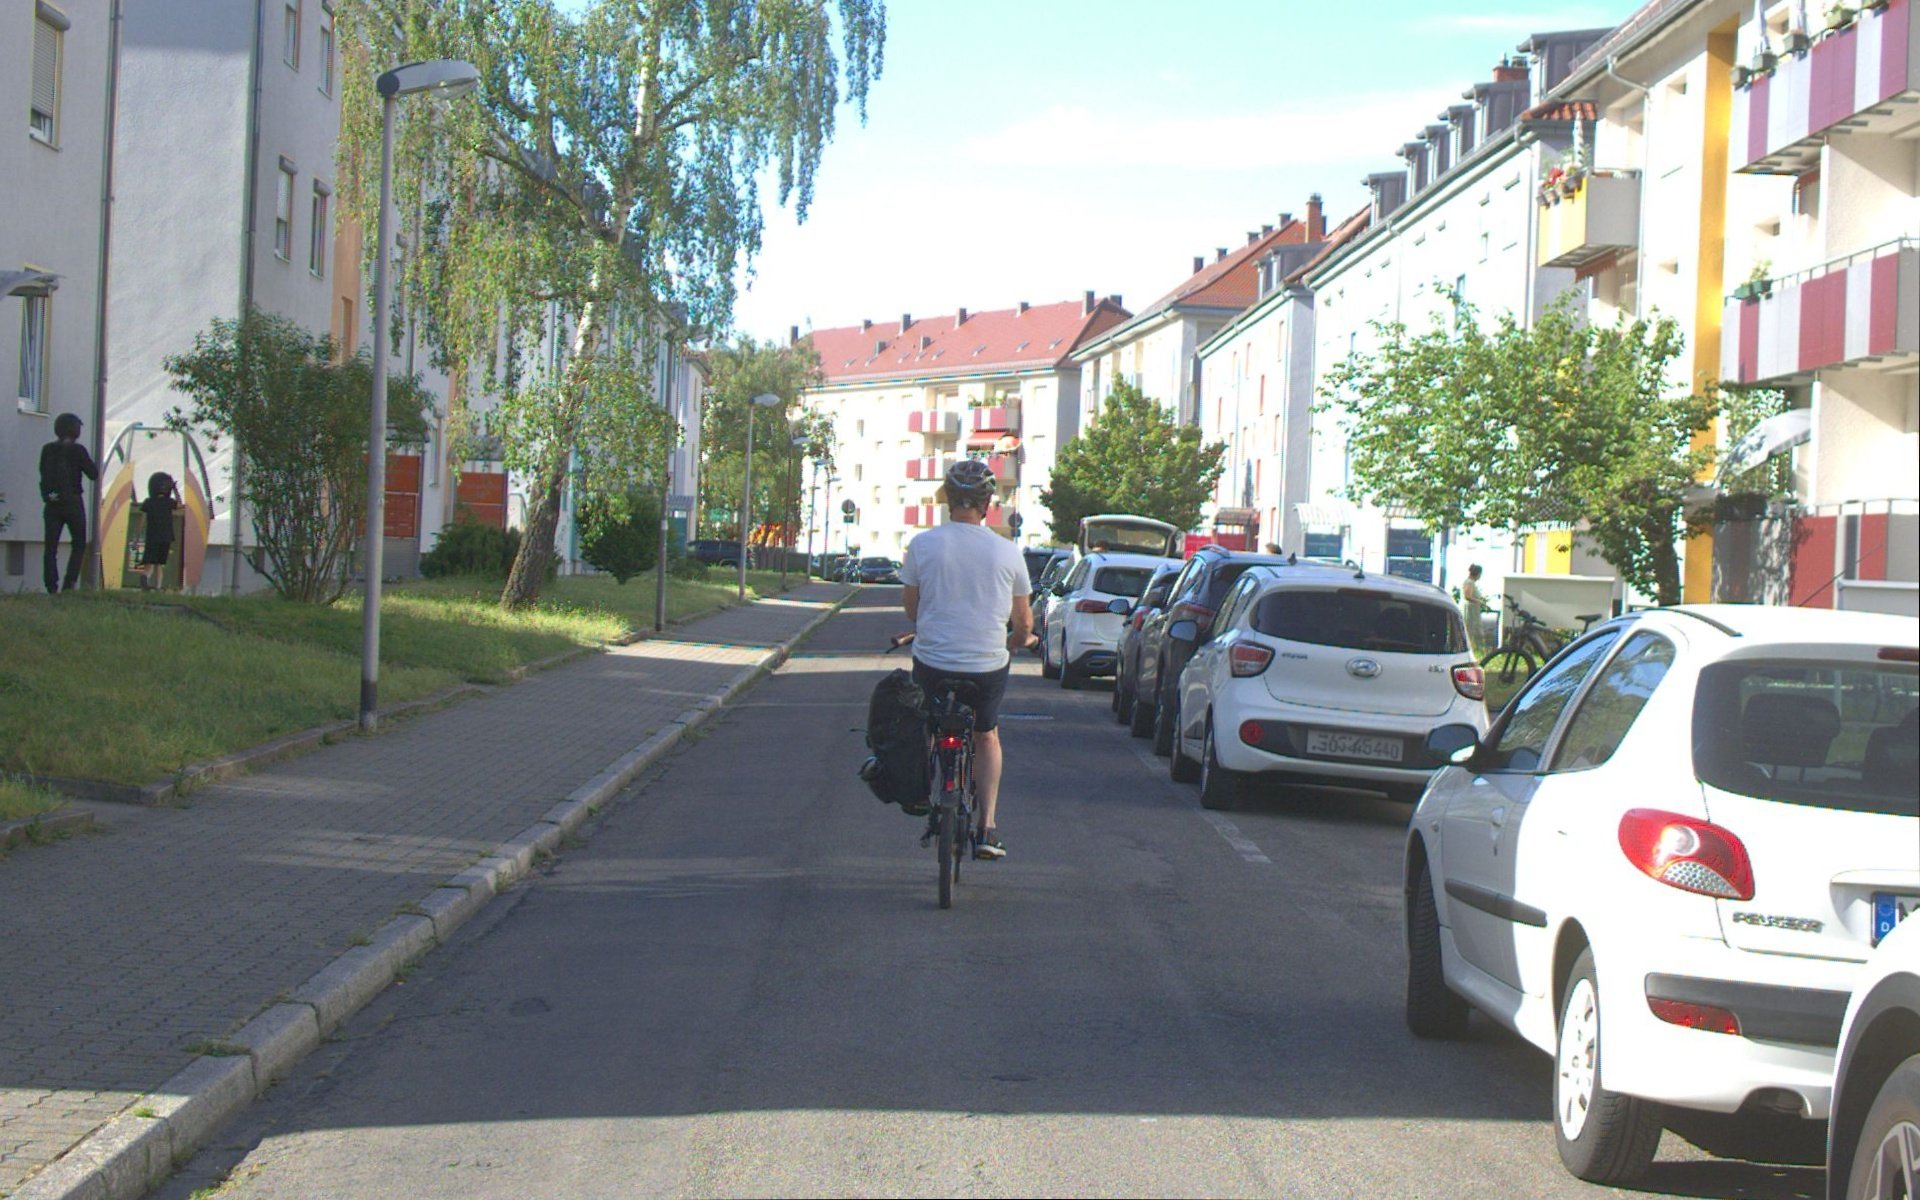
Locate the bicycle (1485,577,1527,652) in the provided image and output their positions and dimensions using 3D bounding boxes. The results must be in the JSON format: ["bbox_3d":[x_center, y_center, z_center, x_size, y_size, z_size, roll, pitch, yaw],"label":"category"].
[{"bbox_3d":[8.185,0.216,51.548,0.403,1.083,1.299,1,1,0],"label":"bicycle"}]

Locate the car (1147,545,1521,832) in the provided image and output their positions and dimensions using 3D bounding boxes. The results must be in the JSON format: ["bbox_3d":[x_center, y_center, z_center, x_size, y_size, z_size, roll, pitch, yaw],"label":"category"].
[{"bbox_3d":[2.269,0.483,21.822,1.713,1.504,3.854,5,1,-2],"label":"car"}]

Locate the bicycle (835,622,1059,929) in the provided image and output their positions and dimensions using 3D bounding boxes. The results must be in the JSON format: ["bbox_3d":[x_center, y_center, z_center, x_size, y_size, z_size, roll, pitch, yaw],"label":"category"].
[{"bbox_3d":[-0.089,0.692,14.445,0.808,1.124,2.102,2,1,-3],"label":"bicycle"}]

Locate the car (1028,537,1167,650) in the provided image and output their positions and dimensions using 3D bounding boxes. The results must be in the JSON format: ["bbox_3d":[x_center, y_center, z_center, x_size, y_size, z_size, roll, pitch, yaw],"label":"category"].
[{"bbox_3d":[2.007,-0.129,51.197,1.693,1.486,3.985,4,1,-2],"label":"car"}]

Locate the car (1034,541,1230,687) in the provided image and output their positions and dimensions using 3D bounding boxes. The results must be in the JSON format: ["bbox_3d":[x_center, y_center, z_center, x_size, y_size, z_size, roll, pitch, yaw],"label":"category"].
[{"bbox_3d":[1.938,0.111,39.954,1.772,1.499,4.481,3,1,-3],"label":"car"}]

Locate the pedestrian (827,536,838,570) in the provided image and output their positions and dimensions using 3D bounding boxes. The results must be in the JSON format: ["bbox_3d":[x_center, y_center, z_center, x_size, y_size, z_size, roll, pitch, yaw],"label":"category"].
[{"bbox_3d":[-5.890,-2.162,158.718,0.434,1.569,0.543,2,1,-1],"label":"pedestrian"}]

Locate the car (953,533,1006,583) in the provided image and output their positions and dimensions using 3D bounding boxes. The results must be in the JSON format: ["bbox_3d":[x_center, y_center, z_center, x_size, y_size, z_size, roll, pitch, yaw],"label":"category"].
[{"bbox_3d":[0.714,-1.600,129.654,1.674,1.733,3.943,3,1,-3],"label":"car"}]

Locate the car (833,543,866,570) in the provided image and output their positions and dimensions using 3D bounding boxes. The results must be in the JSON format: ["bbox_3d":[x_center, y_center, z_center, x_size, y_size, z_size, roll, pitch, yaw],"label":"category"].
[{"bbox_3d":[-5.598,-2.215,173.596,1.469,1.331,3.141,-1,1,-4],"label":"car"}]

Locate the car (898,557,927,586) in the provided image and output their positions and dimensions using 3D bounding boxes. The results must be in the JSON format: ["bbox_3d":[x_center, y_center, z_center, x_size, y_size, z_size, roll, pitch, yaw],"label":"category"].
[{"bbox_3d":[-2.651,-1.587,191.729,1.469,1.511,3.077,3,1,-3],"label":"car"}]

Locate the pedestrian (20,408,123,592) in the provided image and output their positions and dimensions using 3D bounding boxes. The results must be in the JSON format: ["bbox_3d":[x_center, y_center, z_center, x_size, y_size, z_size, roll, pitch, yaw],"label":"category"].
[{"bbox_3d":[-8.989,-1.005,34.804,0.806,1.817,0.718,2,1,0],"label":"pedestrian"}]

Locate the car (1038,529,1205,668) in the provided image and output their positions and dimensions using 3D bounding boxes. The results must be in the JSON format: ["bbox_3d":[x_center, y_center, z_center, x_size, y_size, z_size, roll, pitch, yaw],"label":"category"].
[{"bbox_3d":[2.087,-0.063,45.768,1.994,1.607,4.995,4,1,1],"label":"car"}]

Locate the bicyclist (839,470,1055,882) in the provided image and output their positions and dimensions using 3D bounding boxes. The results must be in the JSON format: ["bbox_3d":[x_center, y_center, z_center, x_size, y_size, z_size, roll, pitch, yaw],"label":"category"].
[{"bbox_3d":[-0.068,0.299,14.247,0.808,1.638,0.899,2,1,-3],"label":"bicyclist"}]

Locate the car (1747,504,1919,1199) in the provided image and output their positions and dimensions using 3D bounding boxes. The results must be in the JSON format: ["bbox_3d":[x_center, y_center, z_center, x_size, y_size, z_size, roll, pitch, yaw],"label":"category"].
[{"bbox_3d":[2.461,0.722,4.129,1.800,1.587,4.582,4,1,-2],"label":"car"}]

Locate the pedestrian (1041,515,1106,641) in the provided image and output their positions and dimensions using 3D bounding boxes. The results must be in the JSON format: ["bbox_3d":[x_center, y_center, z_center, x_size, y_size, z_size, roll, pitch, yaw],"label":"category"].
[{"bbox_3d":[1.443,-0.282,43.857,0.739,1.569,0.880,2,1,-1],"label":"pedestrian"}]

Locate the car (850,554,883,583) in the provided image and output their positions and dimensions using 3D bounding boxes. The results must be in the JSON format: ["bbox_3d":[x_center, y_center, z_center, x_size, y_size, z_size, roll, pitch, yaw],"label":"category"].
[{"bbox_3d":[-4.547,-1.544,166.943,1.469,1.331,3.141,1,1,-3],"label":"car"}]

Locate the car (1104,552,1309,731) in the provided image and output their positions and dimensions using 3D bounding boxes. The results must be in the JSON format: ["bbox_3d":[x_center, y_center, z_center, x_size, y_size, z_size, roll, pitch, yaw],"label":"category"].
[{"bbox_3d":[2.244,0.337,32.177,1.647,1.444,4.060,4,1,2],"label":"car"}]

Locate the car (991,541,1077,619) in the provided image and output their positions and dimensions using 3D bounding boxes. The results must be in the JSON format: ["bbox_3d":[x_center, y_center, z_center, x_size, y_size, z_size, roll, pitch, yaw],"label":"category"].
[{"bbox_3d":[1.502,-0.445,70.943,1.641,1.493,4.156,2,1,0],"label":"car"}]

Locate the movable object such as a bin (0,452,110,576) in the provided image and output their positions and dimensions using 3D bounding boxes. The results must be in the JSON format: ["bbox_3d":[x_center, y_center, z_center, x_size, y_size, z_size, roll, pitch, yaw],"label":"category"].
[{"bbox_3d":[-10.782,-1.018,40.876,1.084,1.401,0.813,3,1,0],"label":"movable object such as a bin"}]

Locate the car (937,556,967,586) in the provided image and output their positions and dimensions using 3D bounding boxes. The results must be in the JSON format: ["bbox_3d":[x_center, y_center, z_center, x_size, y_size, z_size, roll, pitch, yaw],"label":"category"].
[{"bbox_3d":[-0.412,-1.494,178.984,1.381,1.492,3.077,2,1,-3],"label":"car"}]

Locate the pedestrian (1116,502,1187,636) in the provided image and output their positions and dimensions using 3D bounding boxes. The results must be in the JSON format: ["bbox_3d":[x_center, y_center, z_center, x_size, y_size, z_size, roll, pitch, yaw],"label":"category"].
[{"bbox_3d":[2.448,-0.403,44.013,0.819,1.681,0.604,1,1,-1],"label":"pedestrian"}]

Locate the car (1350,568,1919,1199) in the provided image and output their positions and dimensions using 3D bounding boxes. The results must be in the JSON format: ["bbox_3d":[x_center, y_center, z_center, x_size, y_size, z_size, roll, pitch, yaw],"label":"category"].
[{"bbox_3d":[2.299,0.699,9.793,1.690,1.413,4.098,5,1,-2],"label":"car"}]

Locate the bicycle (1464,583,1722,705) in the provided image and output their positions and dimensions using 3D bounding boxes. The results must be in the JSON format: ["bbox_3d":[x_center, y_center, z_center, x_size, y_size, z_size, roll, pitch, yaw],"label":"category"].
[{"bbox_3d":[6.297,0.431,34.312,2.424,1.126,0.879,2,1,5],"label":"bicycle"}]

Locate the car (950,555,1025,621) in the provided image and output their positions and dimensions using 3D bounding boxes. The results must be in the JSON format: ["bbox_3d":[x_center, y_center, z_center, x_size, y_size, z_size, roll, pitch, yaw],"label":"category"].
[{"bbox_3d":[0.737,-0.358,95.386,1.862,1.662,4.127,4,1,-1],"label":"car"}]

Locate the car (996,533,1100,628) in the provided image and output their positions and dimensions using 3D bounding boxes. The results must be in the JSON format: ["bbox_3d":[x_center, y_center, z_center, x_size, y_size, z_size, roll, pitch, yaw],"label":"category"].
[{"bbox_3d":[1.648,-0.402,65.846,1.783,1.642,4.469,4,1,0],"label":"car"}]

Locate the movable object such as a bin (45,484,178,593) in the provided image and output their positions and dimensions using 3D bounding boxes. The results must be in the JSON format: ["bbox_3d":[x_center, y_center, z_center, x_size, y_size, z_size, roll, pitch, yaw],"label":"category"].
[{"bbox_3d":[-11.243,-0.817,45.602,1.387,1.331,1.228,4,1,-1],"label":"movable object such as a bin"}]

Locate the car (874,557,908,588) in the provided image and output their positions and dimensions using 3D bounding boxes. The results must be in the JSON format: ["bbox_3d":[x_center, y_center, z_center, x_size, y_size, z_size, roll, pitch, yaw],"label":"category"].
[{"bbox_3d":[-3.265,-1.323,162.528,1.469,1.331,3.141,3,1,-3],"label":"car"}]

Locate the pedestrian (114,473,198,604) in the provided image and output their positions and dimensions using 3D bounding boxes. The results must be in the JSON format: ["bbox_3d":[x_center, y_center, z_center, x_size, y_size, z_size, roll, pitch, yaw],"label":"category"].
[{"bbox_3d":[-8.253,-0.634,35.303,0.686,1.312,0.575,2,1,0],"label":"pedestrian"}]

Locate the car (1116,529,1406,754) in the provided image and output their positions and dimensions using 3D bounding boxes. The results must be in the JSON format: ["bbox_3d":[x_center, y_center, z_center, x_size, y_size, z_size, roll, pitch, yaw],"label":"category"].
[{"bbox_3d":[2.269,0.262,26.934,1.723,1.573,4.353,2,1,-2],"label":"car"}]

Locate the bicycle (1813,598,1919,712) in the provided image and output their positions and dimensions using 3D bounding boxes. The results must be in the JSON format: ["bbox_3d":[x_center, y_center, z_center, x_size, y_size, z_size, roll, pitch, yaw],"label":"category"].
[{"bbox_3d":[8.961,0.520,33.899,0.520,1.045,2.288,0,1,0],"label":"bicycle"}]
